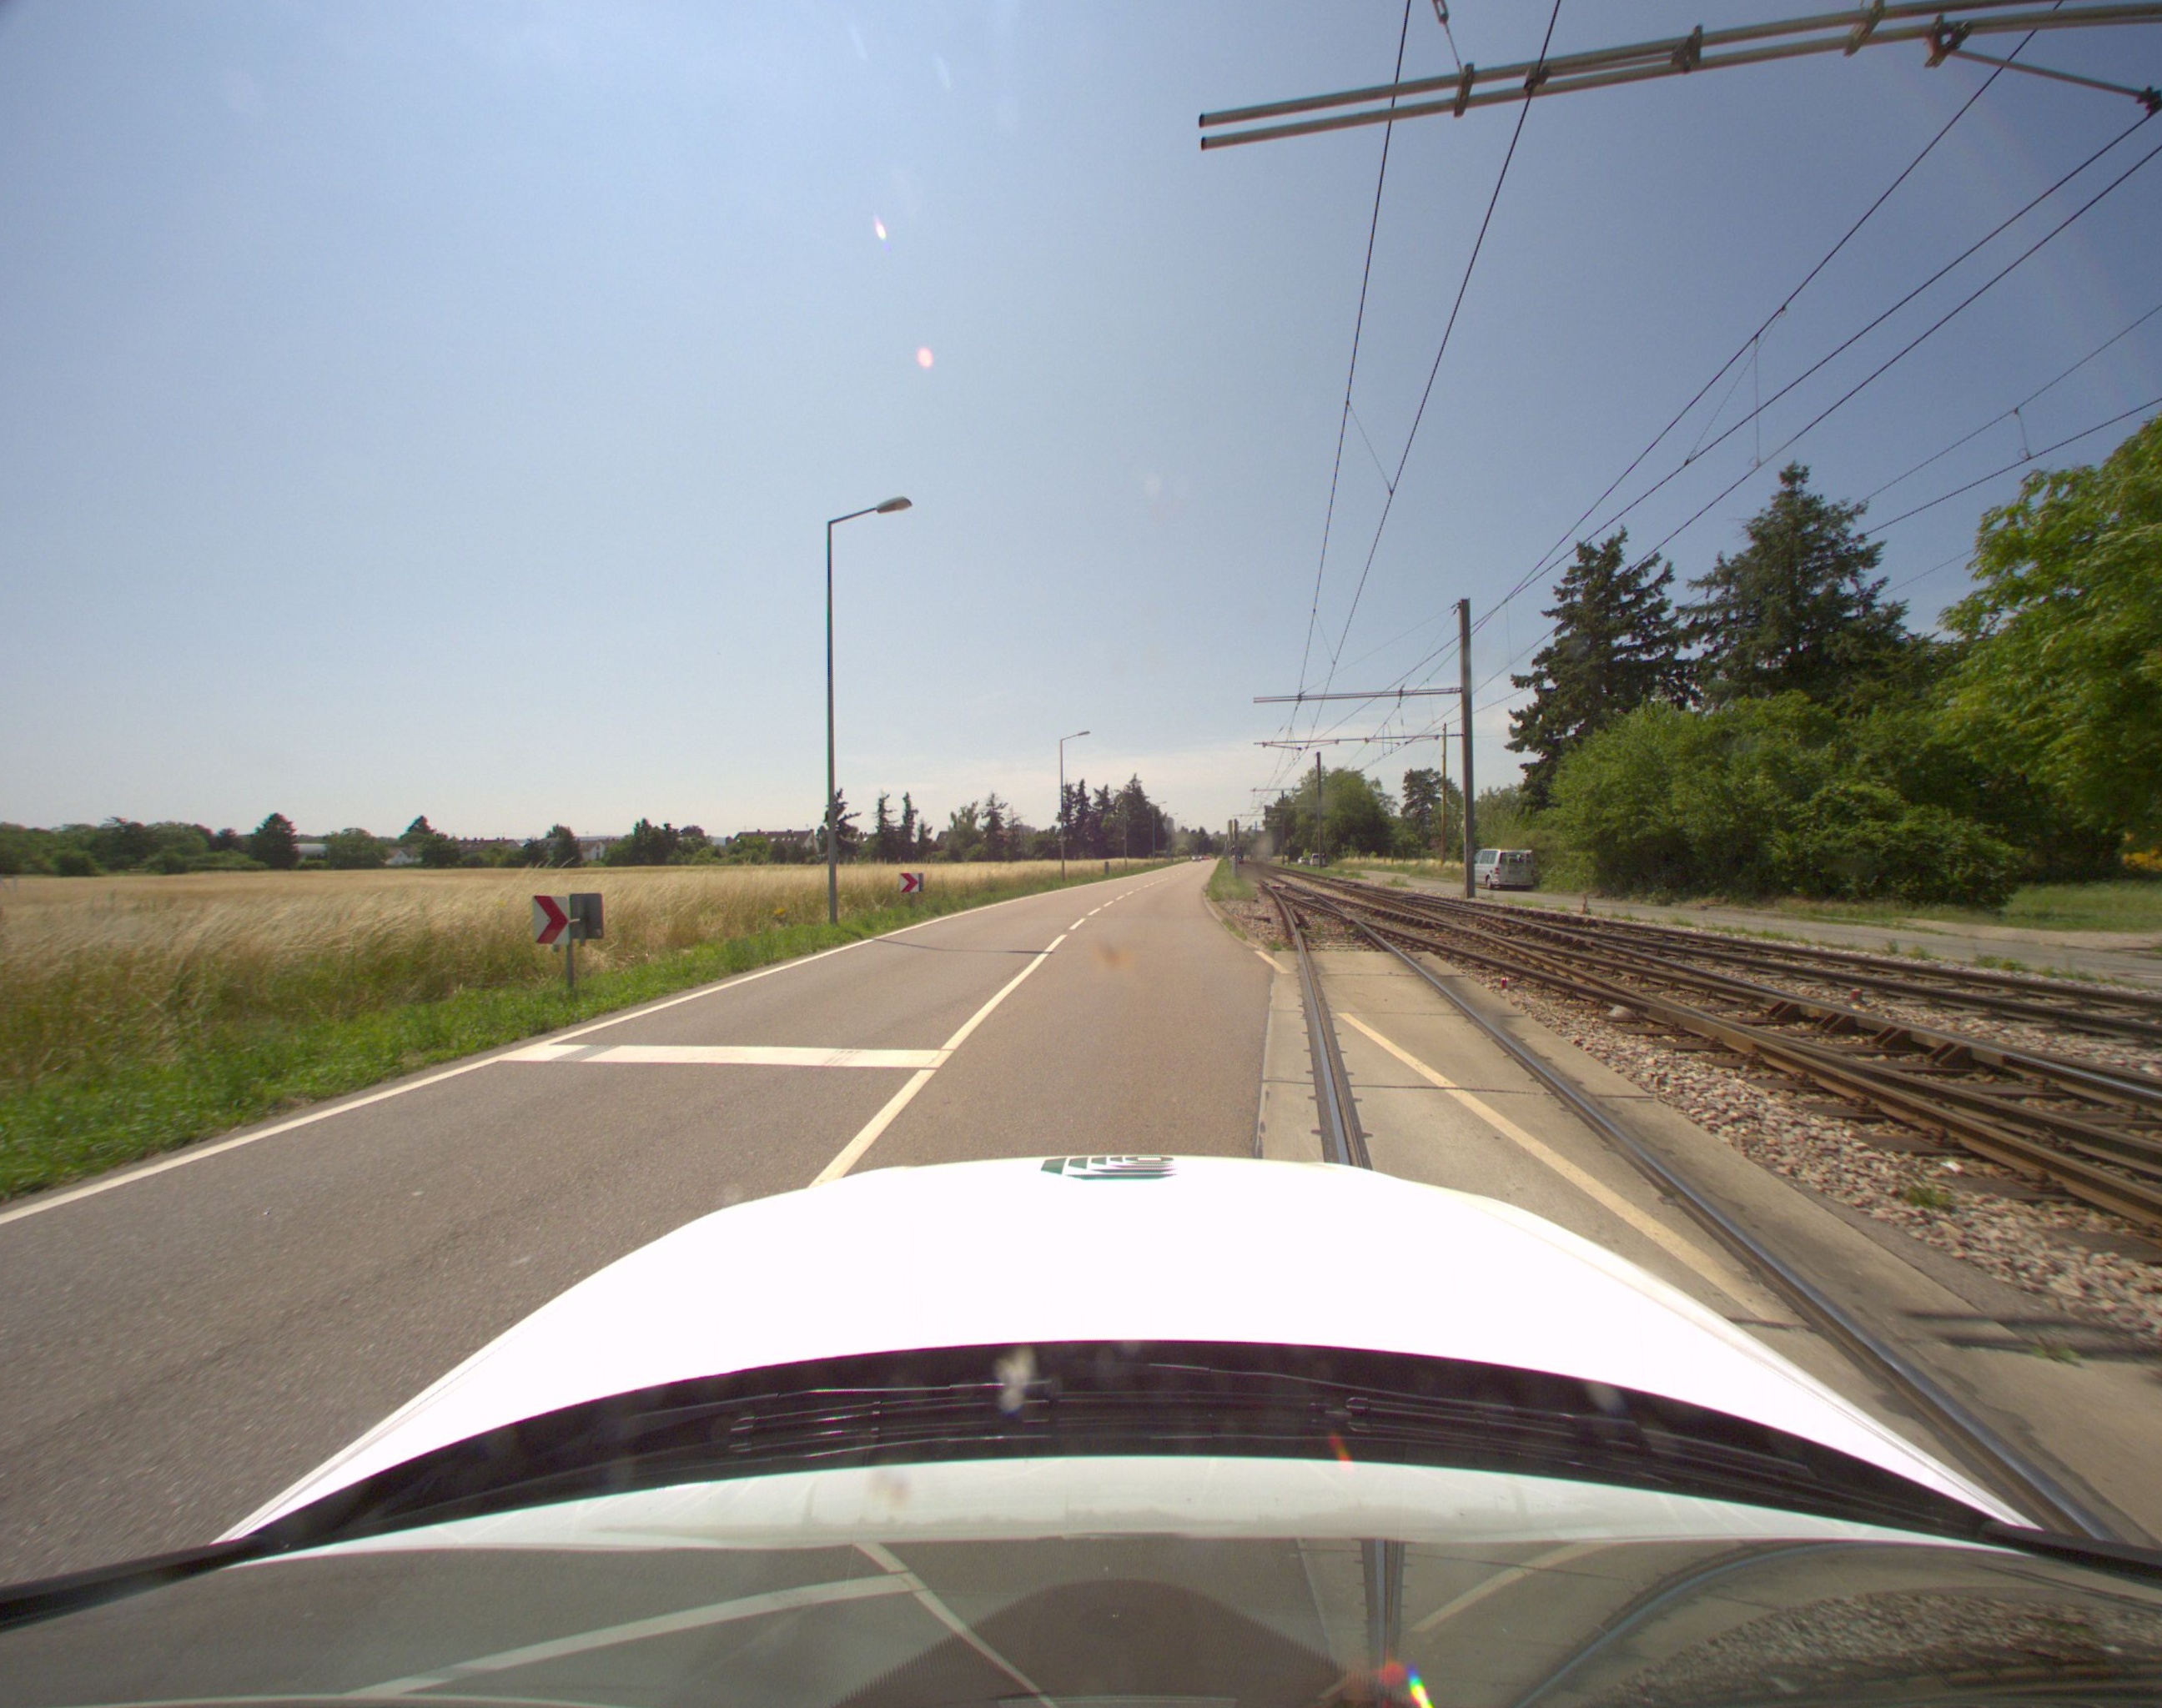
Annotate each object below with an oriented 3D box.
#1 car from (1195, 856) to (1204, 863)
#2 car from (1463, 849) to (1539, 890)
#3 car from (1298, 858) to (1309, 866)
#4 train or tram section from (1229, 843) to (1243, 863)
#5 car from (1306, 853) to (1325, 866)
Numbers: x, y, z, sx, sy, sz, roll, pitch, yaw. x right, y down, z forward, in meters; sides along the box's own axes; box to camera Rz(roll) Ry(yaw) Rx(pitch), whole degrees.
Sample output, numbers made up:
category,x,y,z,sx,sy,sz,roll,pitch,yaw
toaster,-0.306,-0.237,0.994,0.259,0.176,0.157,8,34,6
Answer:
category,x,y,z,sx,sy,sz,roll,pitch,yaw
car,27.190,1.345,186.878,1.823,1.467,4.690,-1,-1,10
car,20.727,0.749,40.450,2.023,1.882,5.085,-2,-1,12
car,37.173,1.302,136.064,1.419,1.308,3.475,-2,-1,10
train or tram section,31.724,-0.112,167.004,2.414,3.766,11.589,-2,-1,10
car,33.625,0.765,116.876,1.981,1.802,4.807,-2,-1,10
